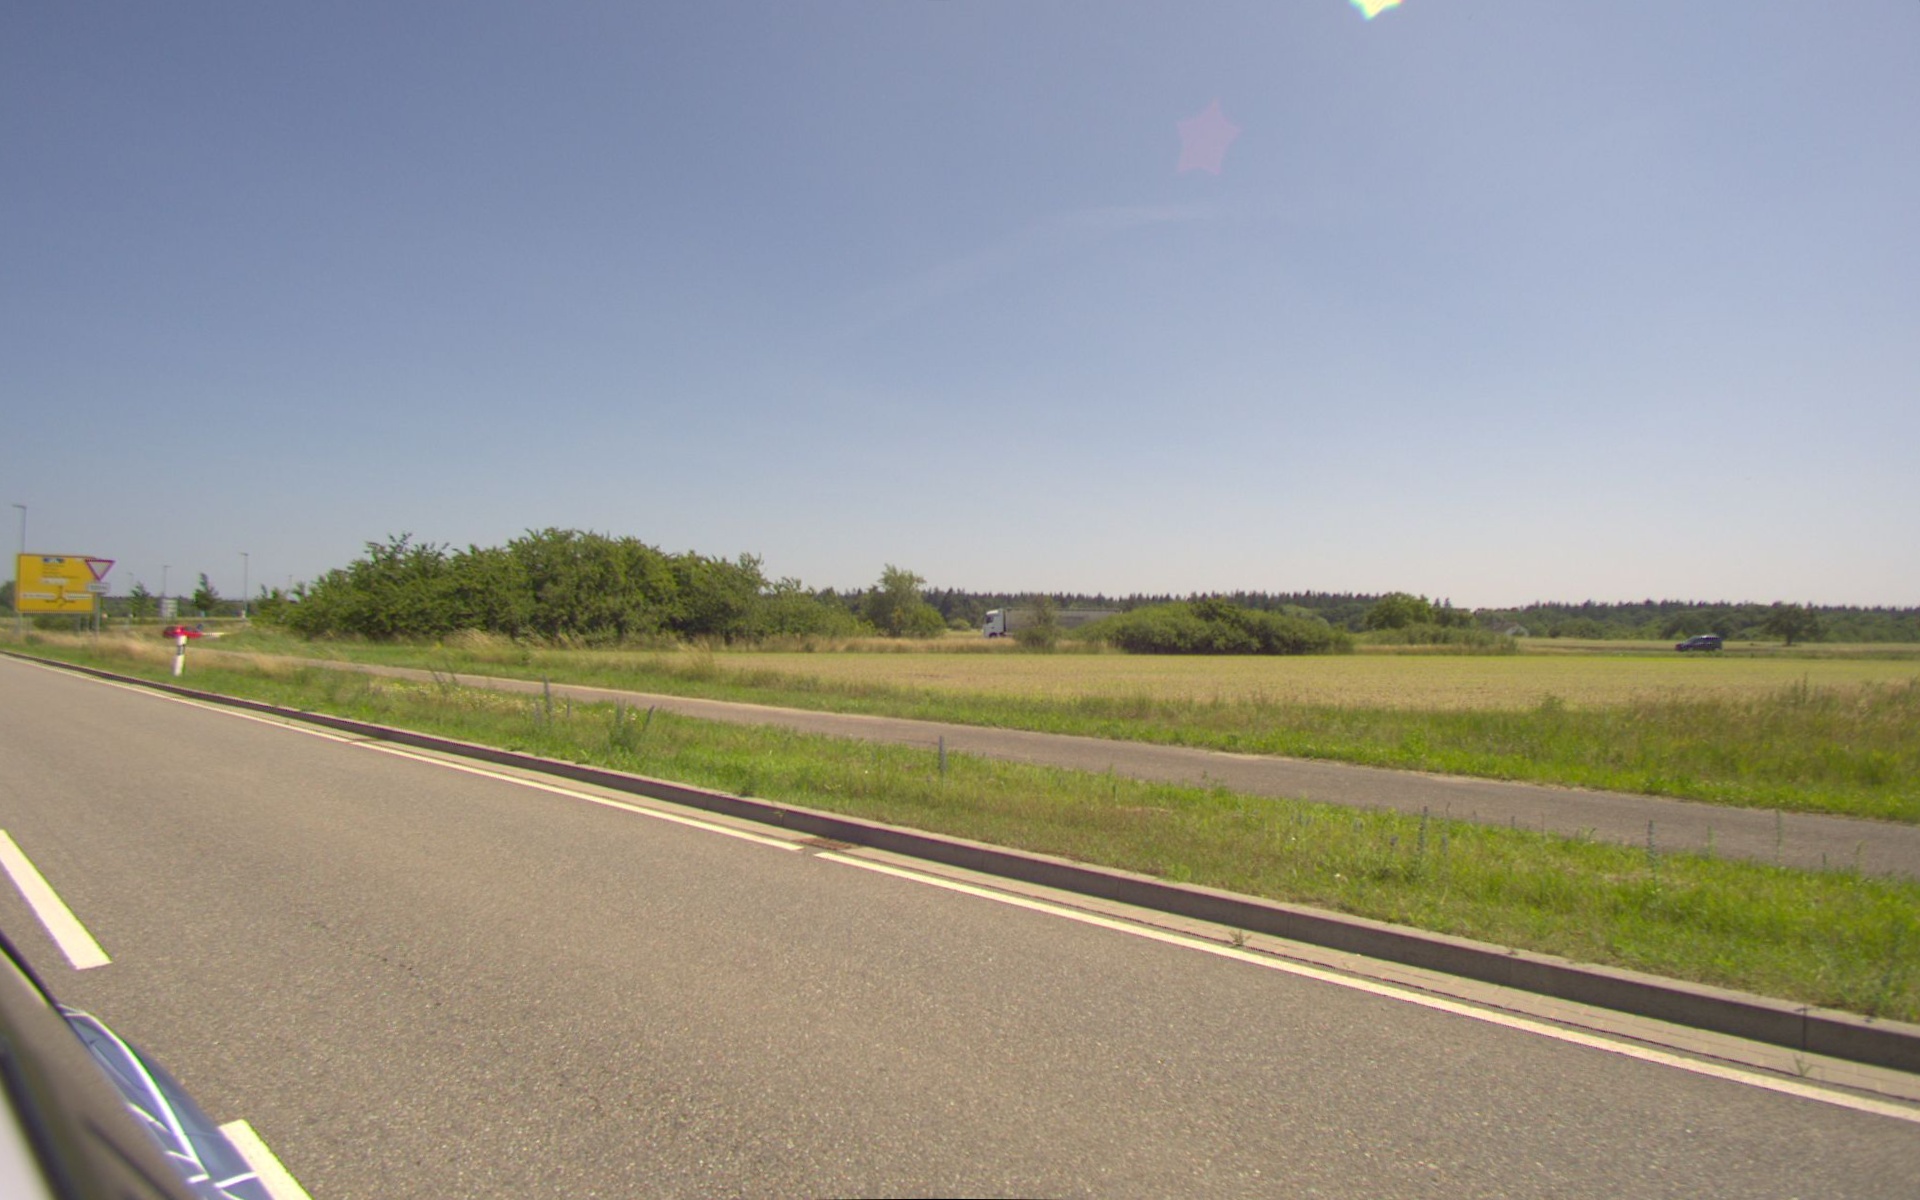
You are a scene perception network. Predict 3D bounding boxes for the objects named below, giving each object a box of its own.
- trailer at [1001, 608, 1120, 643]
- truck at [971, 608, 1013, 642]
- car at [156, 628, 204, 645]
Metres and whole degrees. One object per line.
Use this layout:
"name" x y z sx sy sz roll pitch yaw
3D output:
"trailer" 11.828 3.012 119.200 13.737 3.964 2.633 0 -2 12
"truck" 3.854 3.011 120.934 4.729 3.964 2.633 0 -2 12
"car" -72.048 3.391 93.558 1.636 1.444 3.738 1 -3 -3
